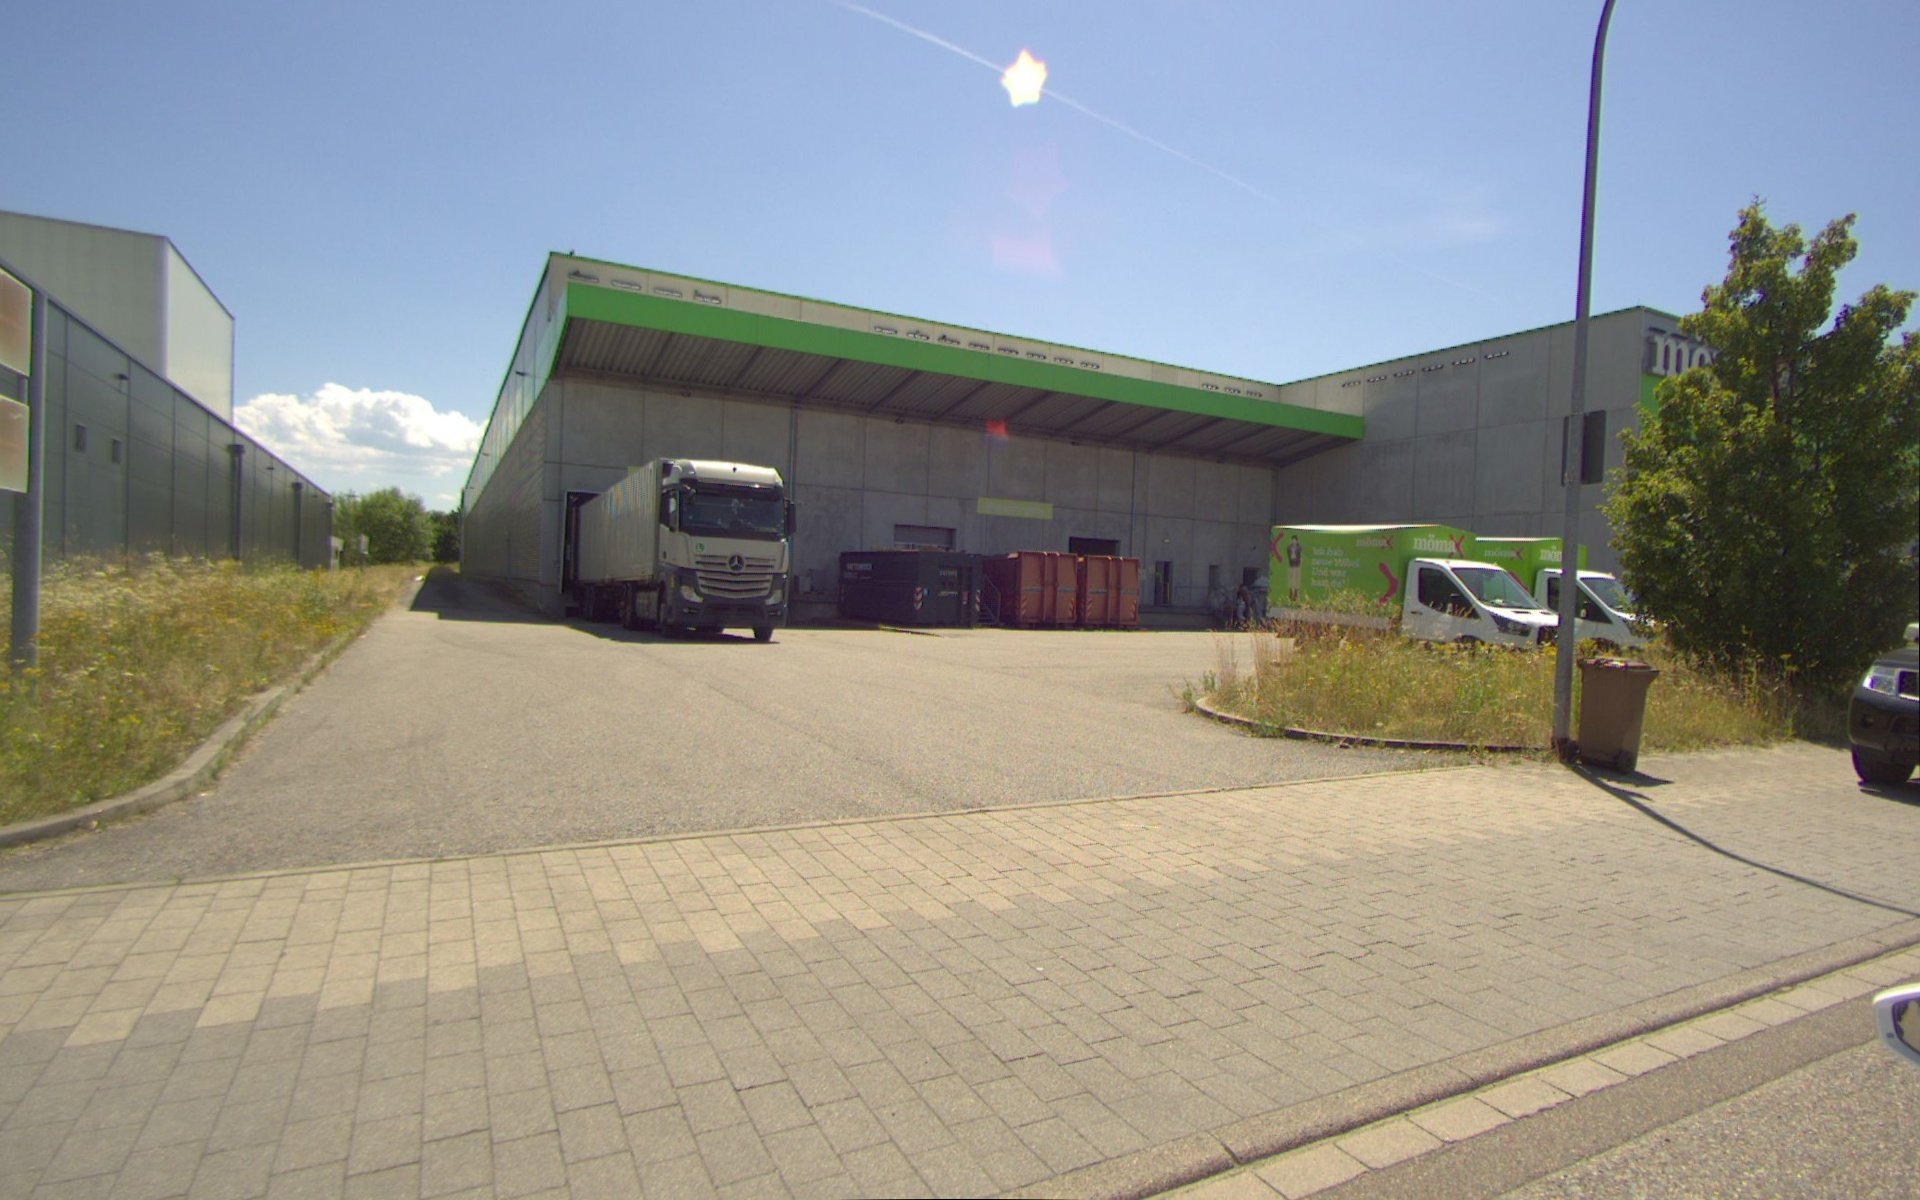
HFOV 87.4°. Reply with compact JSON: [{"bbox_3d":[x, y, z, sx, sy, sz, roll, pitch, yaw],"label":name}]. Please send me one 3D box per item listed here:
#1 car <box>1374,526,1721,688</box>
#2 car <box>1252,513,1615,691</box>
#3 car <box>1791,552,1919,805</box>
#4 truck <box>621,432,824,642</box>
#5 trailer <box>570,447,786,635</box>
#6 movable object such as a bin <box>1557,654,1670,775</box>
[{"bbox_3d":[12.336,0.046,21.689,2.490,2.965,5.948,2,2,-28],"label":"car"},{"bbox_3d":[8.772,-0.050,19.389,2.490,2.862,5.948,2,2,-28],"label":"car"},{"bbox_3d":[9.797,0.687,8.791,5.336,1.926,1.965,2,2,-29],"label":"car"},{"bbox_3d":[-5.748,-1.271,23.451,3.178,4.142,6.082,2,0,-27],"label":"truck"},{"bbox_3d":[-9.048,-1.405,29.926,3.178,4.142,15.262,2,0,-27],"label":"trailer"},{"bbox_3d":[5.665,0.969,8.716,0.675,0.963,0.545,1,2,-30],"label":"movable object such as a bin"}]
